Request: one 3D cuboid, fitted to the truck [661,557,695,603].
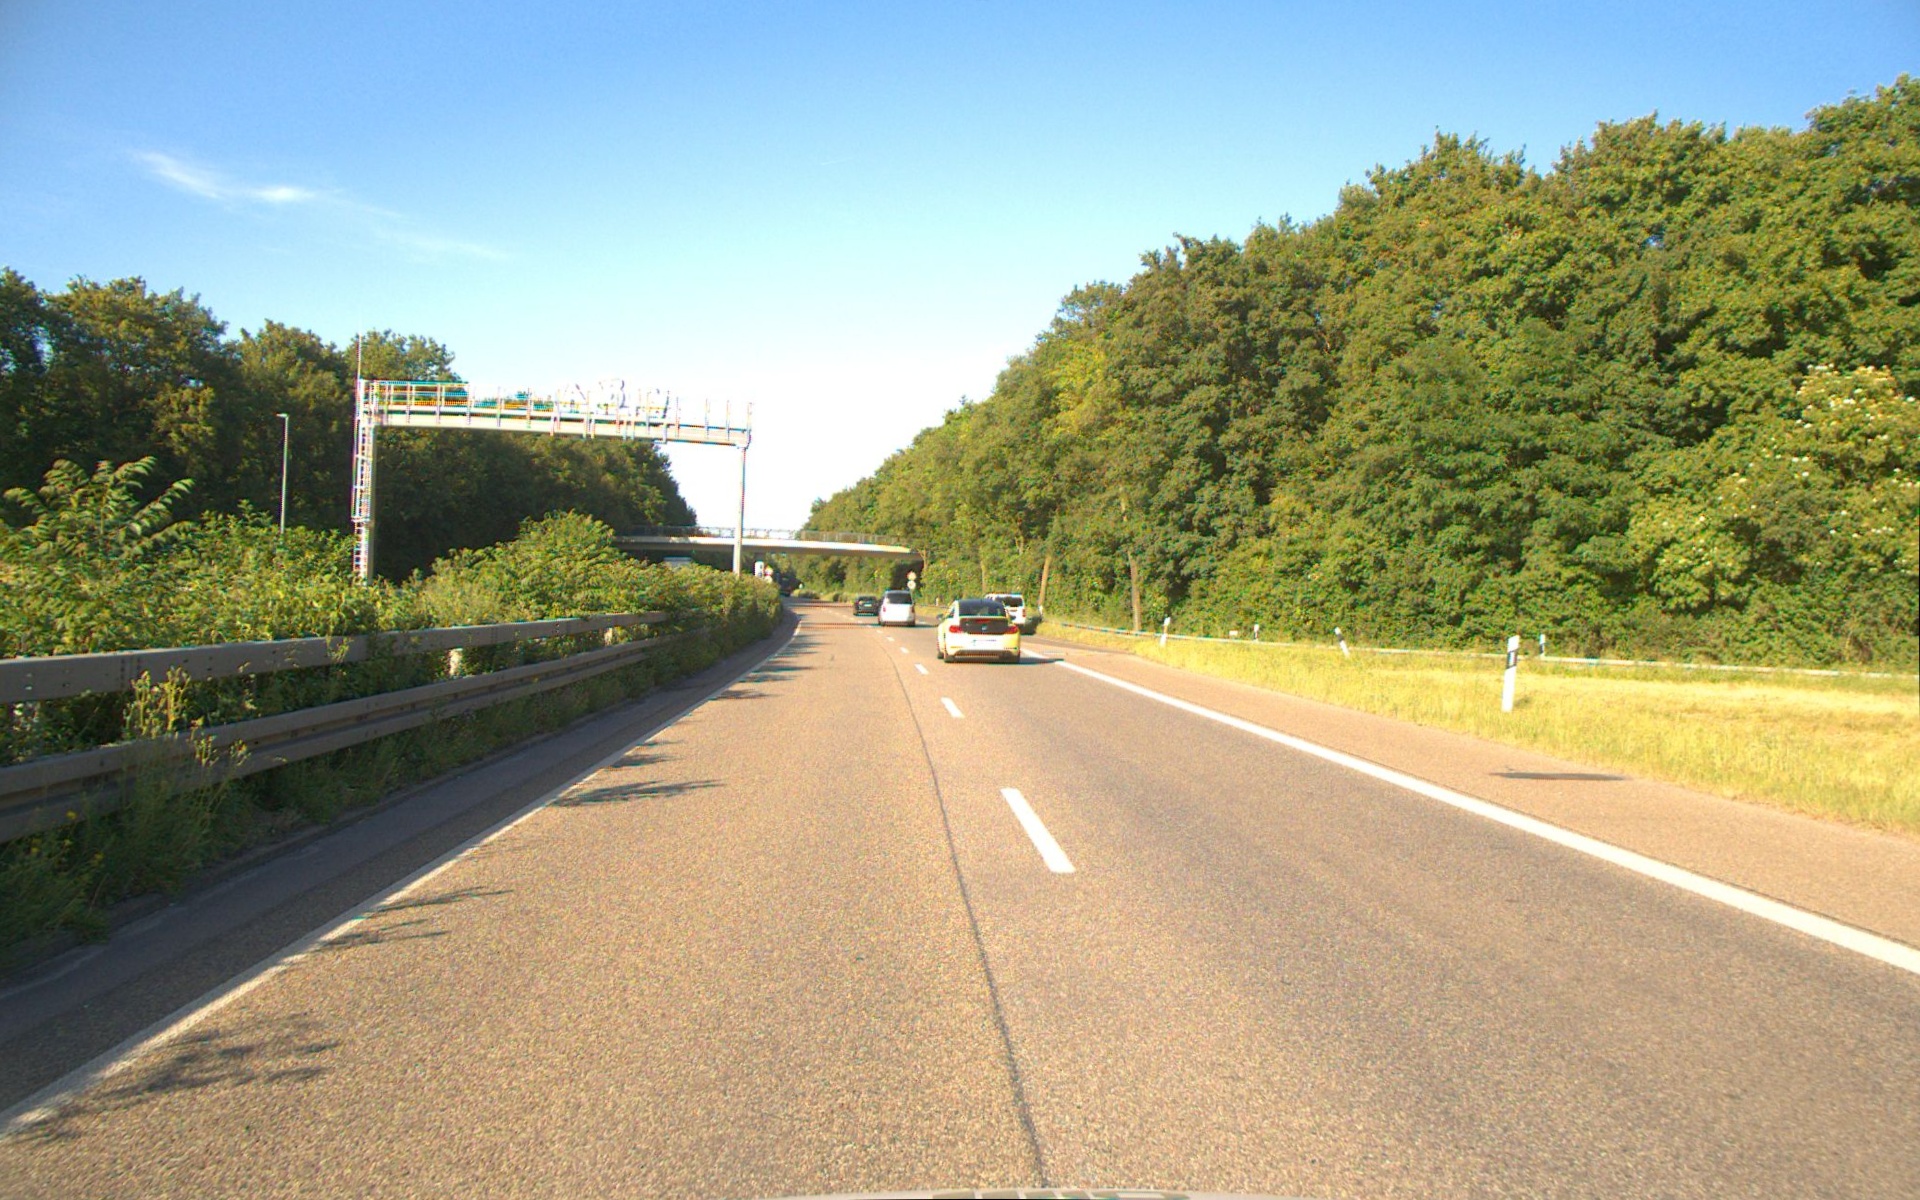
[{"bbox_3d":[-26.459,-1.868,155.370,2.686,4.098,6.171,2,0,-7],"label":"truck"}]

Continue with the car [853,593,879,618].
[{"bbox_3d":[-6.861,0.395,121.067,1.859,1.798,3.997,1,0,-4],"label":"car"}]

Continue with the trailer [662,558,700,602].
[{"bbox_3d":[-27.195,-1.883,161.566,2.686,4.098,14.055,2,0,-6],"label":"trailer"}]

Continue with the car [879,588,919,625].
[{"bbox_3d":[-3.126,0.328,84.030,1.860,1.798,3.996,1,0,-5],"label":"car"}]

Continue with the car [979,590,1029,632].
[{"bbox_3d":[1.994,0.501,75.672,1.860,1.856,3.996,1,0,-5],"label":"car"}]

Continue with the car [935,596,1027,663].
[{"bbox_3d":[0.451,0.673,39.562,1.860,1.496,3.997,1,0,-4],"label":"car"}]
